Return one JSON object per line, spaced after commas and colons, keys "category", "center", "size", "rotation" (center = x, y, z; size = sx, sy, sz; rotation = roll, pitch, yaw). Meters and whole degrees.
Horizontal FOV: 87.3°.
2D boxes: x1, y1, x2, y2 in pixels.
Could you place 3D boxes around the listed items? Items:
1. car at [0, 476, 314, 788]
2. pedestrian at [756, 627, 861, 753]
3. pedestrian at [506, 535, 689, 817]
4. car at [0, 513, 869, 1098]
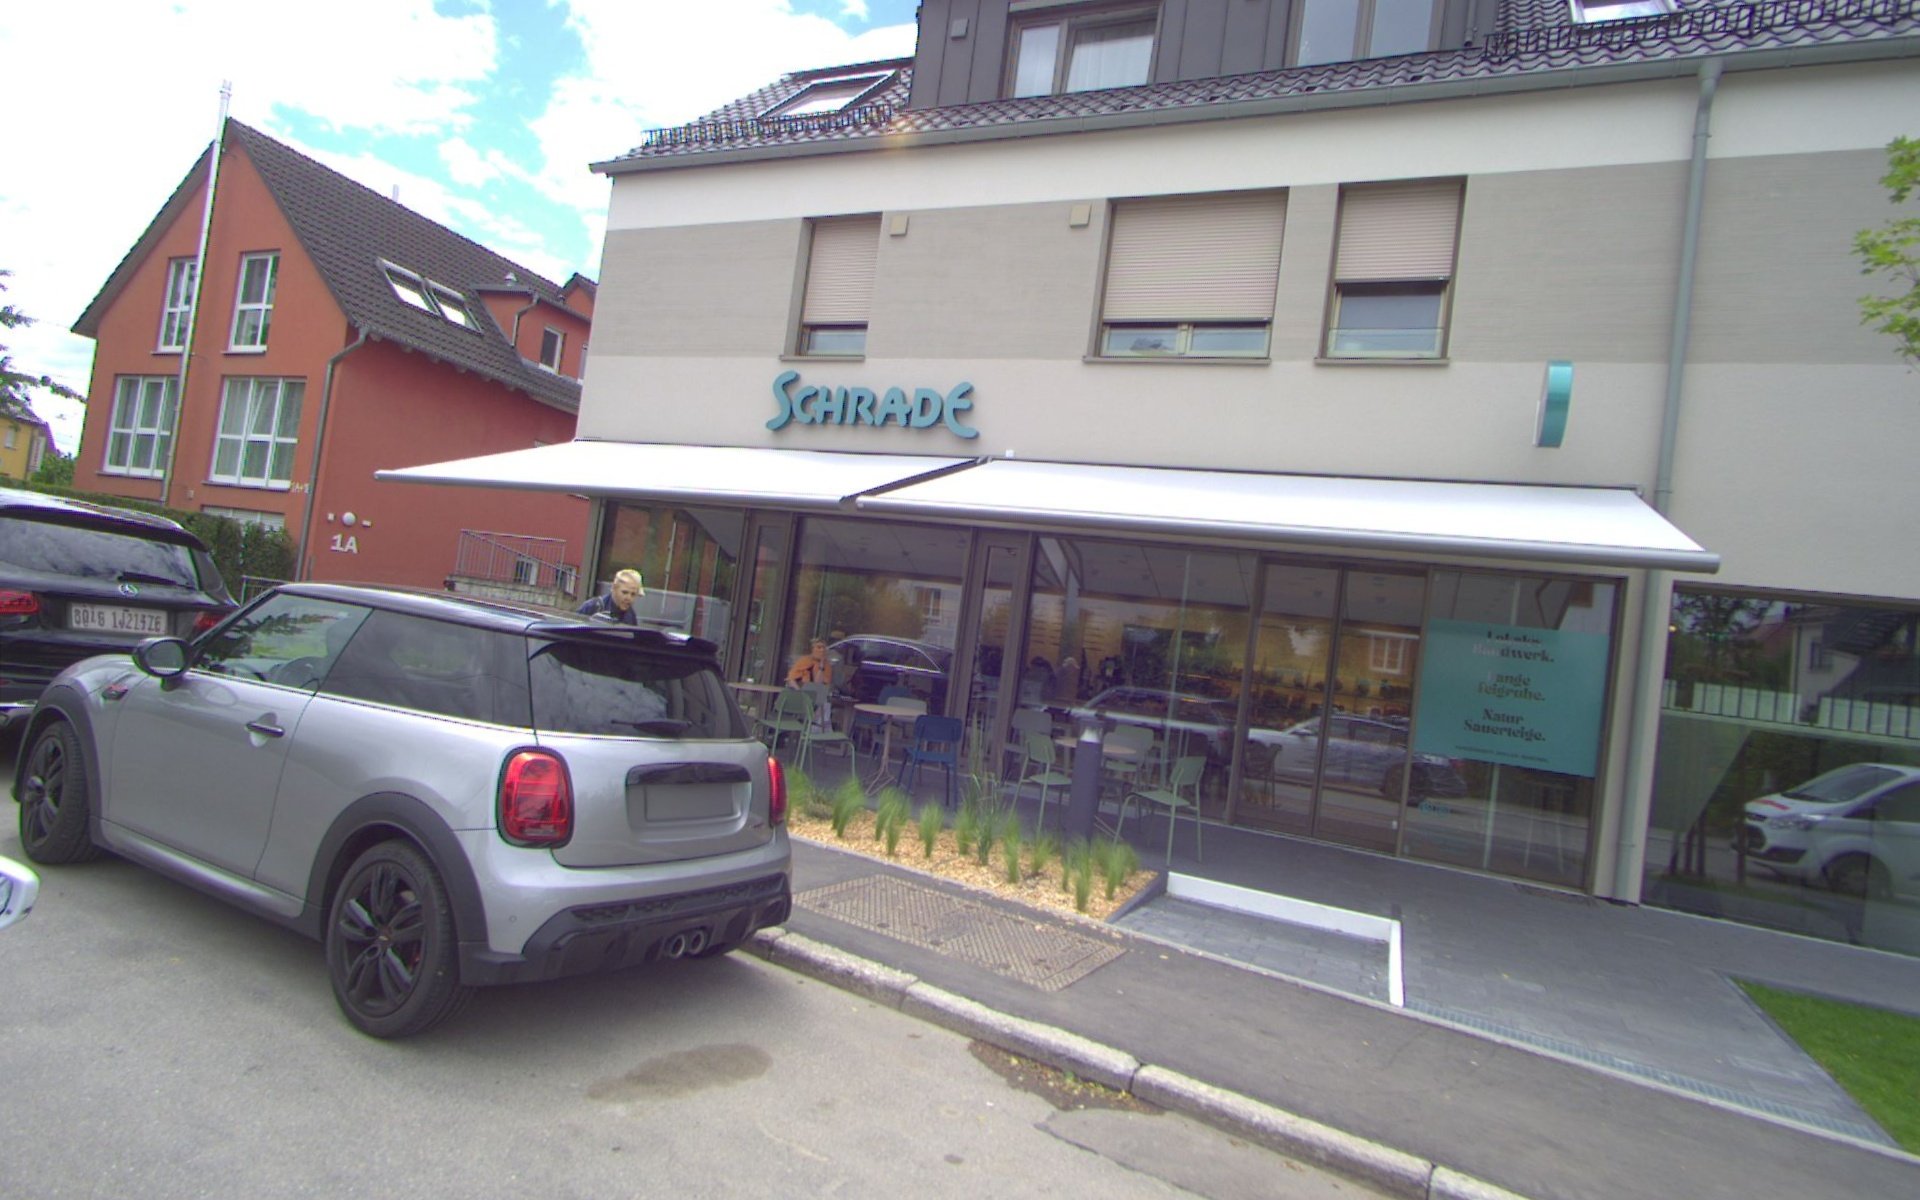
{"category": "car", "center": [-6.783, 0.030, 6.881], "size": [4.387, 1.653, 1.854], "rotation": [7, -4, 27]}
{"category": "pedestrian", "center": [-1.655, 0.989, 11.068], "size": [0.679, 1.252, 0.753], "rotation": [7, -2, 24]}
{"category": "pedestrian", "center": [-2.367, 0.487, 6.606], "size": [0.648, 1.688, 0.678], "rotation": [7, -1, 29]}
{"category": "car", "center": [-2.544, 0.625, 4.571], "size": [3.768, 1.467, 1.713], "rotation": [7, -4, 28]}
